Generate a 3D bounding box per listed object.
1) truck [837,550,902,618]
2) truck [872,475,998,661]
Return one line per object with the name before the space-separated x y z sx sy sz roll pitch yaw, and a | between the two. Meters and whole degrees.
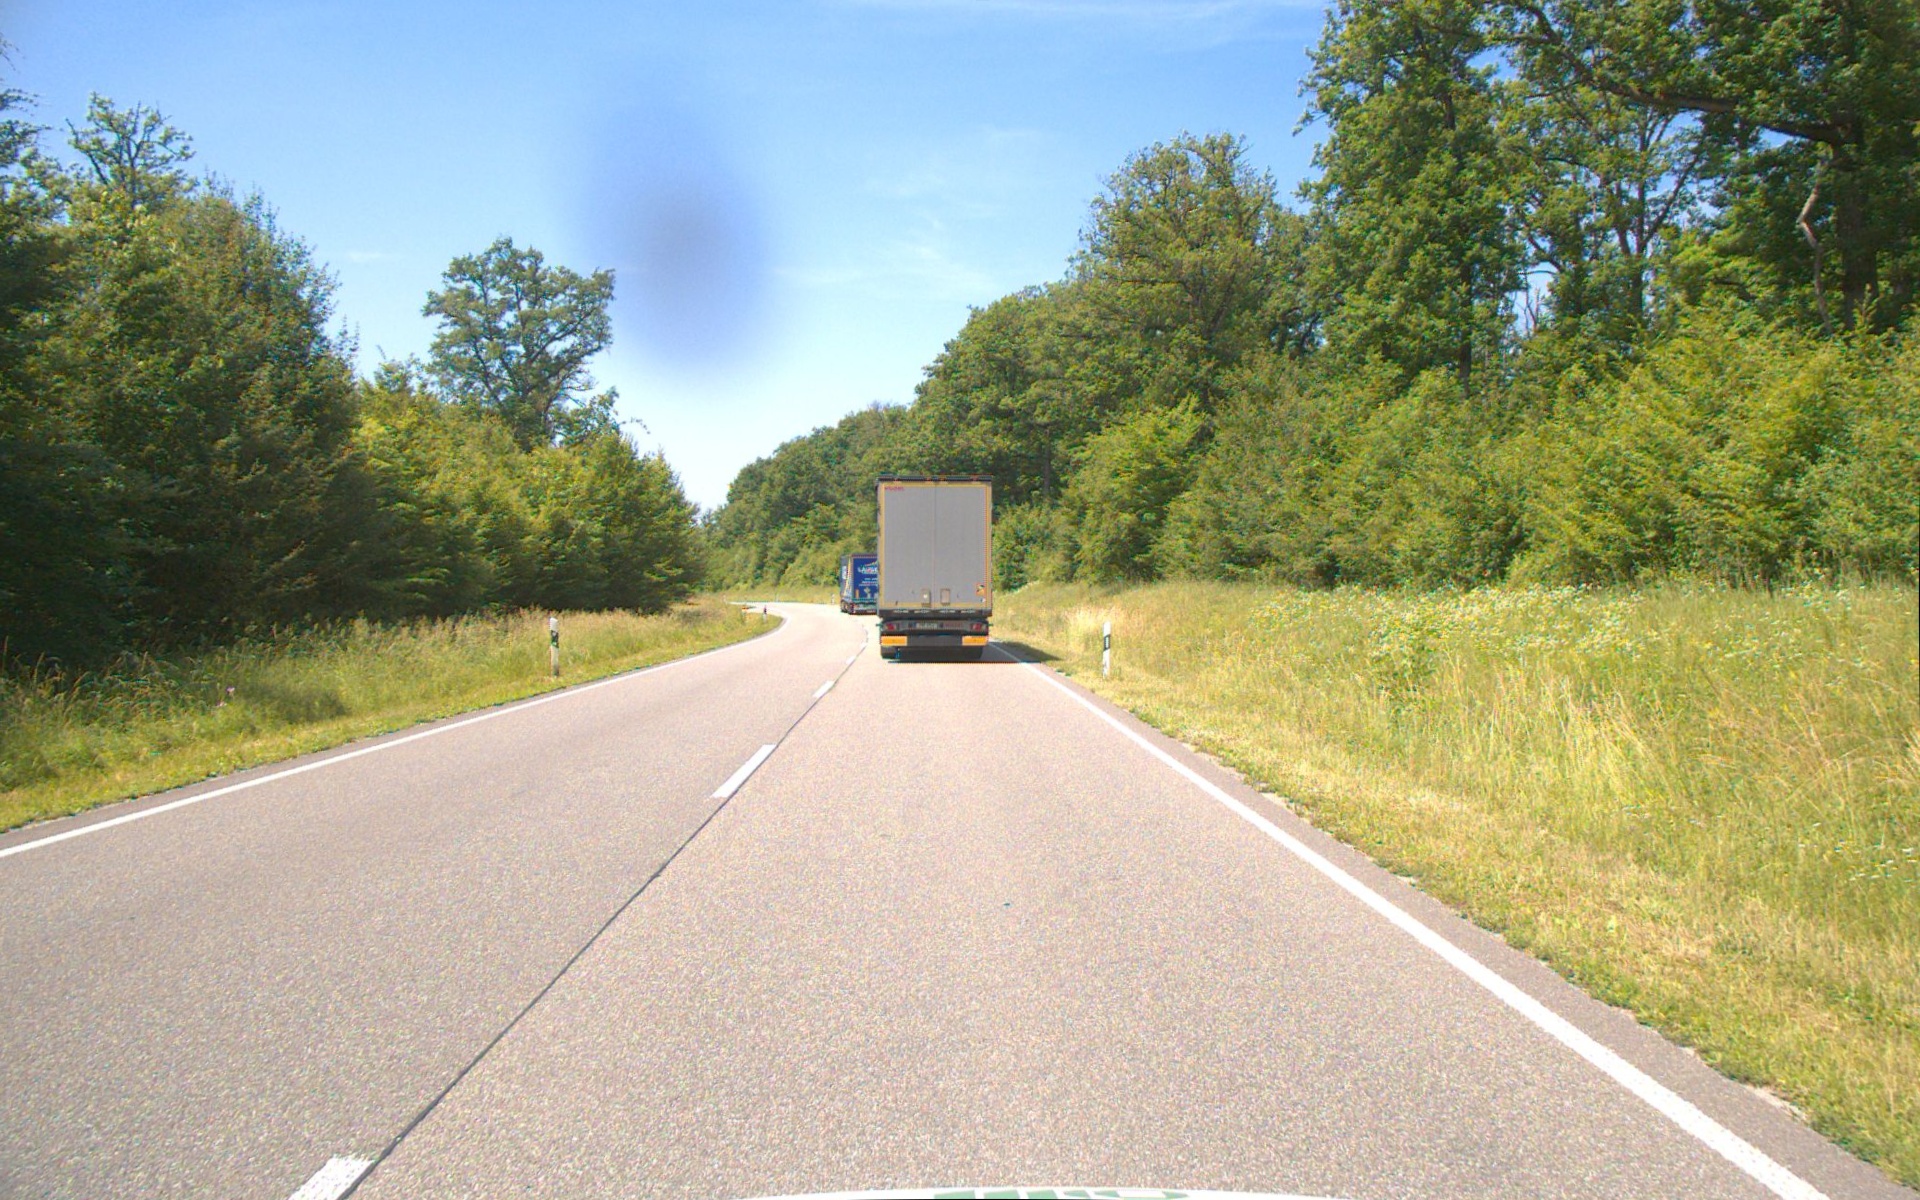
truck | -6.527 -1.076 116.398 3.721 4.449 14.898 0 0 -6
truck | -0.731 -0.719 41.779 2.705 4.016 12.193 0 0 -2
